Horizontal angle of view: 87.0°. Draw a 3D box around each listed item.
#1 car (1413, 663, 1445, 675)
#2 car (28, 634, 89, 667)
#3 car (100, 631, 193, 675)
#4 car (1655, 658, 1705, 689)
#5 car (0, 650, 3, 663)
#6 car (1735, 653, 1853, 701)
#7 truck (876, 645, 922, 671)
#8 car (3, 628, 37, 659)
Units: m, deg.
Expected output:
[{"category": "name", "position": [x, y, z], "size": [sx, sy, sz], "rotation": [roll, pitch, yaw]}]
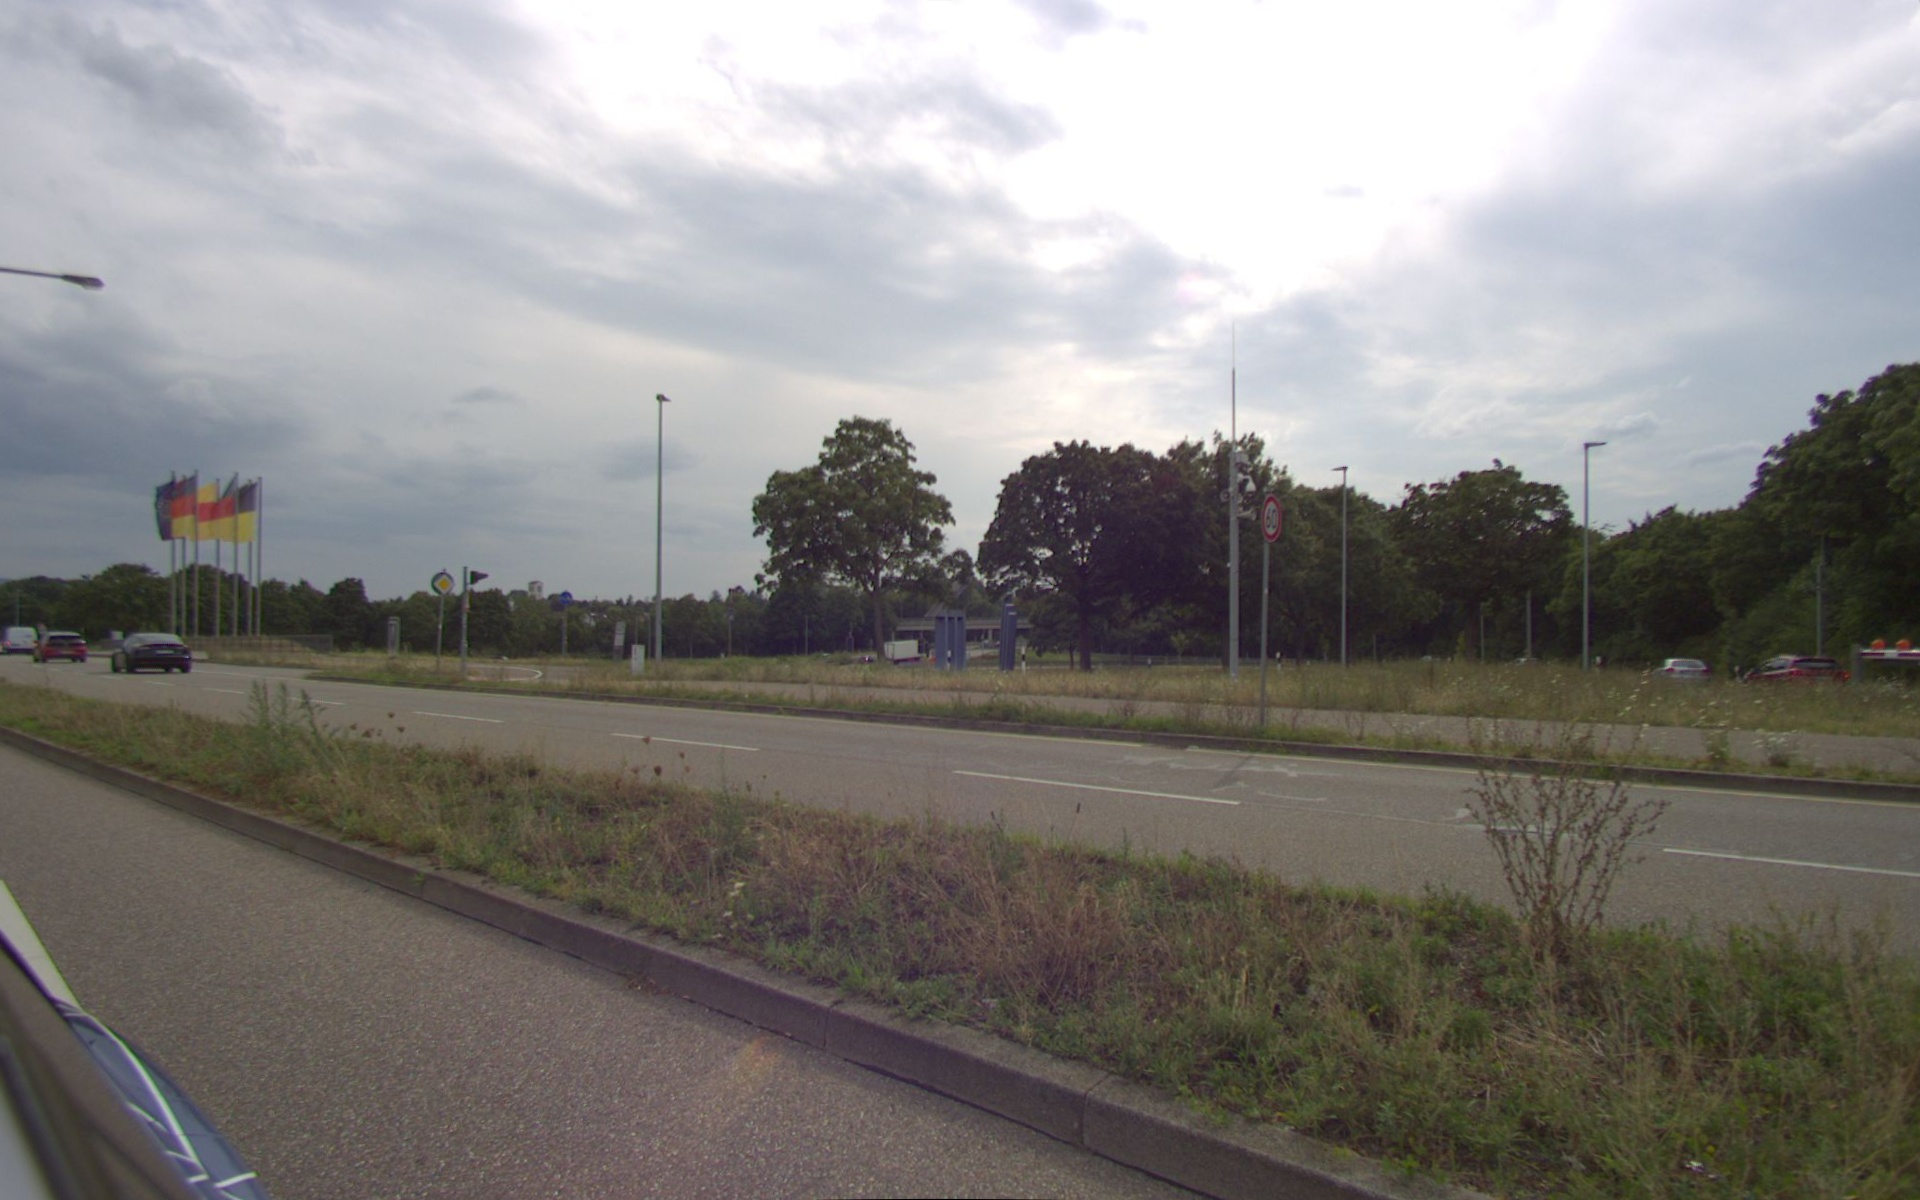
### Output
[{"category": "car", "position": [55.287, 8.118, 119.294], "size": [1.549, 1.407, 3.885], "rotation": [0, -2, -8]}, {"category": "car", "position": [-46.006, 2.582, 51.631], "size": [4.334, 1.586, 1.634], "rotation": [-2, -4, 40]}, {"category": "car", "position": [-29.771, 1.909, 36.994], "size": [4.561, 1.487, 1.727], "rotation": [-2, -3, 40]}, {"category": "car", "position": [31.971, 3.245, 44.984], "size": [1.266, 1.283, 2.982], "rotation": [-1, -3, 26]}, {"category": "car", "position": [-109.680, 6.400, 114.392], "size": [4.469, 1.492, 1.720], "rotation": [-2, -4, 42]}, {"category": "car", "position": [26.810, 2.425, 32.690], "size": [1.505, 1.378, 4.152], "rotation": [-1, -2, 19]}, {"category": "truck", "position": [-11.134, 10.627, 187.363], "size": [3.008, 4.376, 13.907], "rotation": [-1, -2, 21]}, {"category": "car", "position": [-85.376, 3.968, 91.873], "size": [2.029, 2.663, 6.404], "rotation": [3, -4, -44]}]
